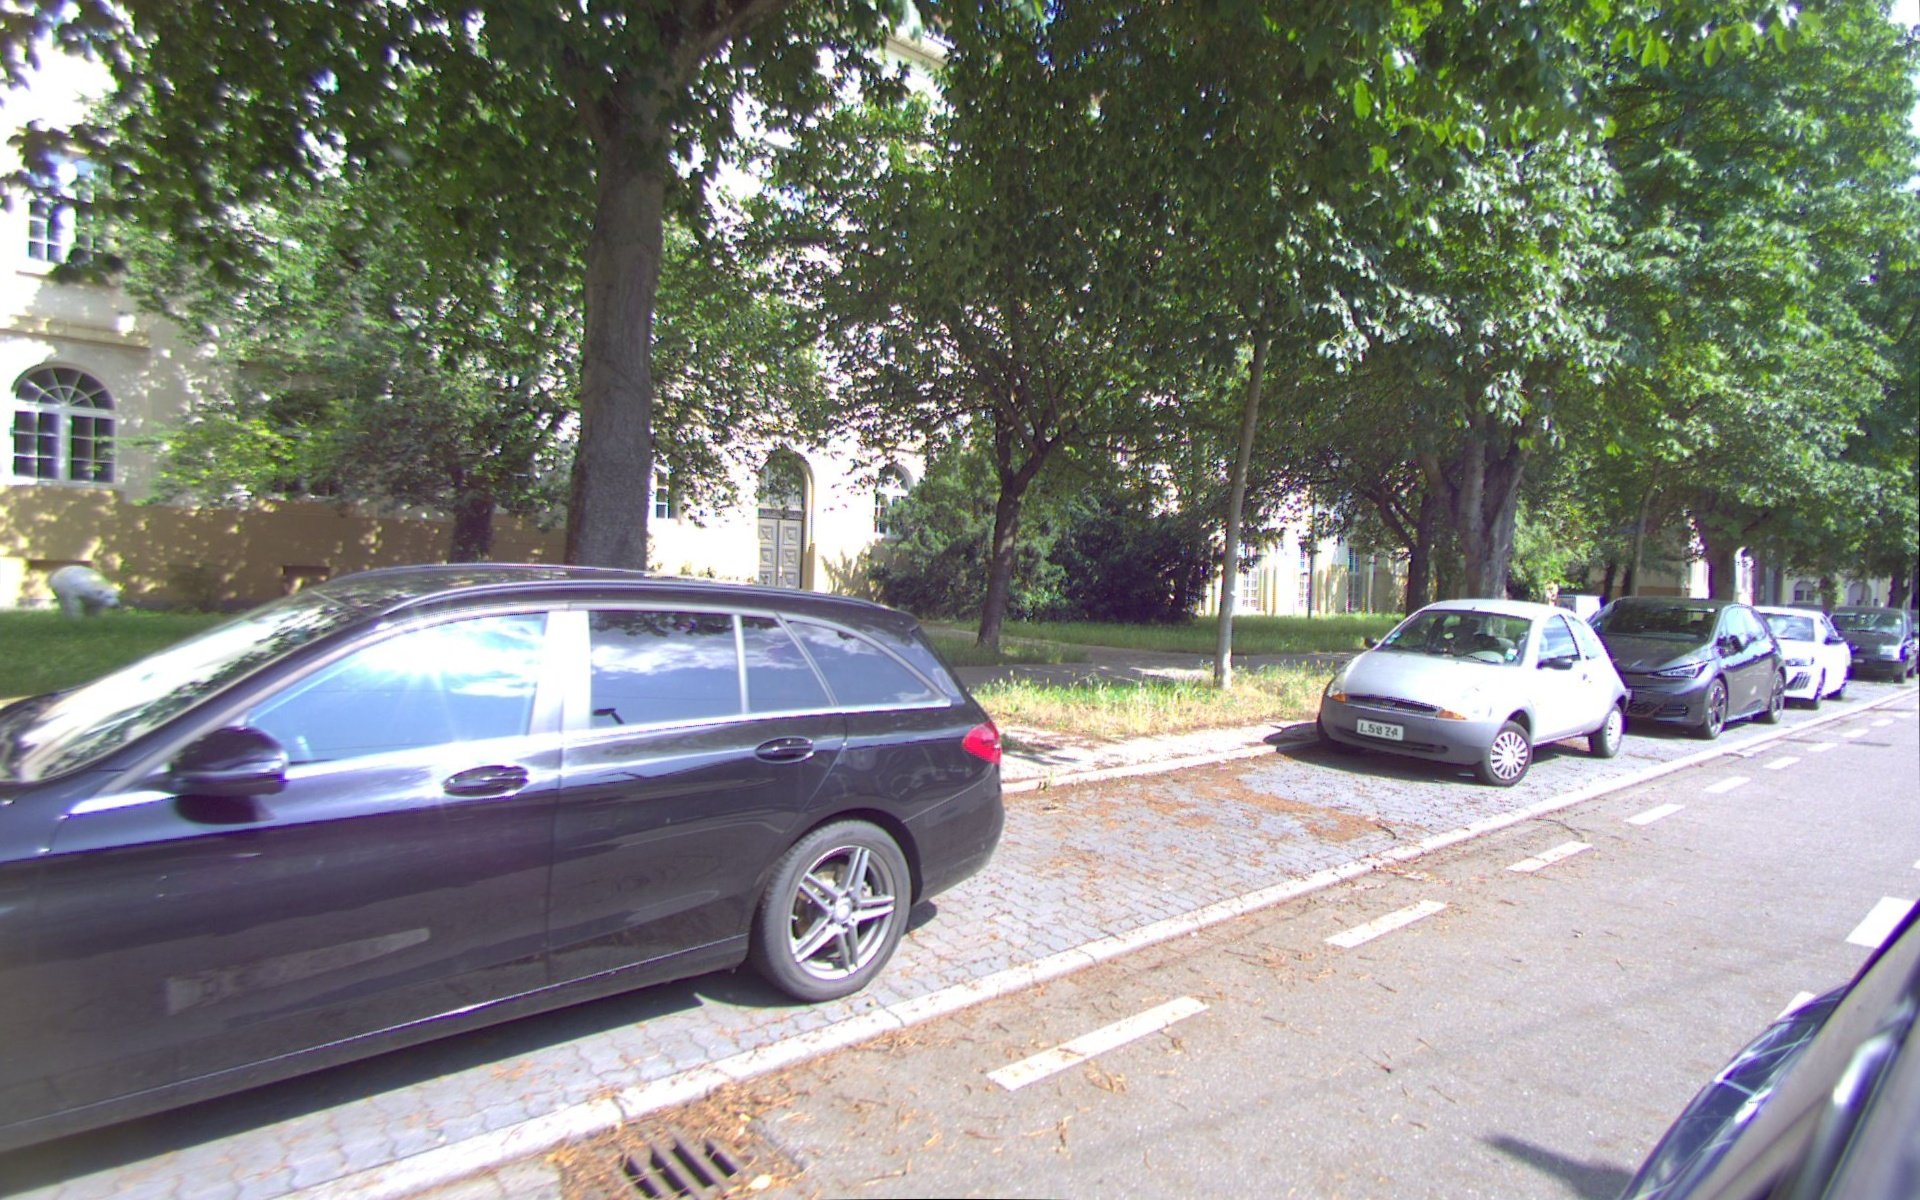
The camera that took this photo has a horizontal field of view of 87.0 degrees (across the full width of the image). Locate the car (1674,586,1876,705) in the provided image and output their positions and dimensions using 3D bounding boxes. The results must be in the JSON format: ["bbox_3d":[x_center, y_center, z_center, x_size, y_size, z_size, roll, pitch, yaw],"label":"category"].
[{"bbox_3d":[13.112,0.632,16.186,4.181,1.542,1.838,0,4,-43],"label":"car"}]

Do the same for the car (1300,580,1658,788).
[{"bbox_3d":[4.824,0.612,9.238,3.534,1.462,1.595,0,3,-40],"label":"car"}]

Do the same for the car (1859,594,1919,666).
[{"bbox_3d":[23.688,0.731,24.870,4.231,1.580,1.695,0,4,-40],"label":"car"}]

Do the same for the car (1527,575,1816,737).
[{"bbox_3d":[8.957,0.581,12.580,4.593,1.602,1.729,1,3,-40],"label":"car"}]

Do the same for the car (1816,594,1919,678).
[{"bbox_3d":[19.705,0.697,21.680,3.498,1.478,1.559,-1,6,-43],"label":"car"}]

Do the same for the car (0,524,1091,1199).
[{"bbox_3d":[-1.873,0.558,3.462,4.713,1.459,1.922,1,4,-41],"label":"car"}]
